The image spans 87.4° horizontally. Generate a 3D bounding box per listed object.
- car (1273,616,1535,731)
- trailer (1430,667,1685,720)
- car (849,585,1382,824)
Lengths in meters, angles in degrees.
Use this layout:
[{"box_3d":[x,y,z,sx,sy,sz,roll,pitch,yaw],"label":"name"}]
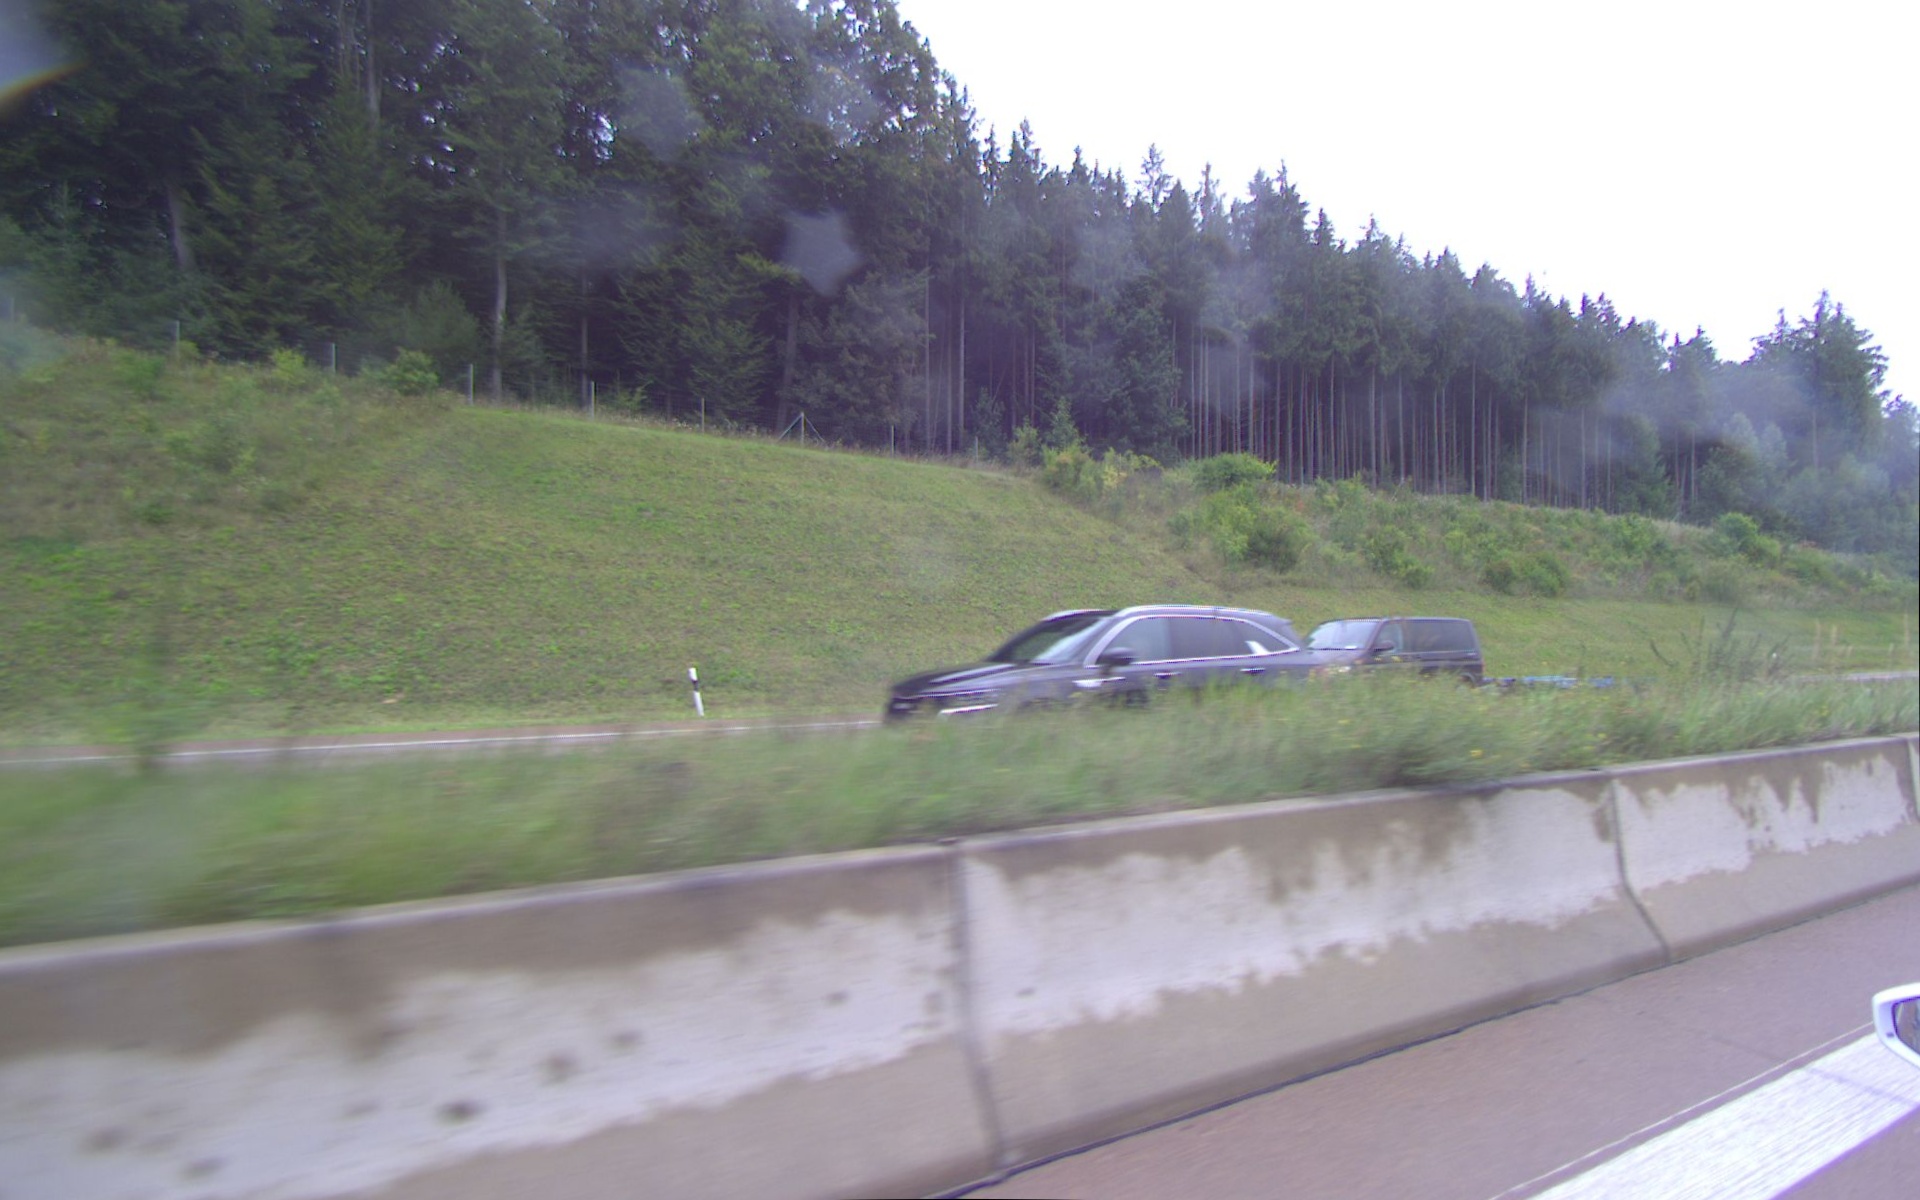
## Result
[{"box_3d":[9.129,1.436,20.489,5.608,2.040,1.984,2,-1,-31],"label":"car"},{"box_3d":[14.112,2.127,23.541,6.772,1.011,2.194,2,-2,-31],"label":"trailer"},{"box_3d":[1.579,0.862,9.598,4.878,1.803,1.882,2,0,-29],"label":"car"}]
